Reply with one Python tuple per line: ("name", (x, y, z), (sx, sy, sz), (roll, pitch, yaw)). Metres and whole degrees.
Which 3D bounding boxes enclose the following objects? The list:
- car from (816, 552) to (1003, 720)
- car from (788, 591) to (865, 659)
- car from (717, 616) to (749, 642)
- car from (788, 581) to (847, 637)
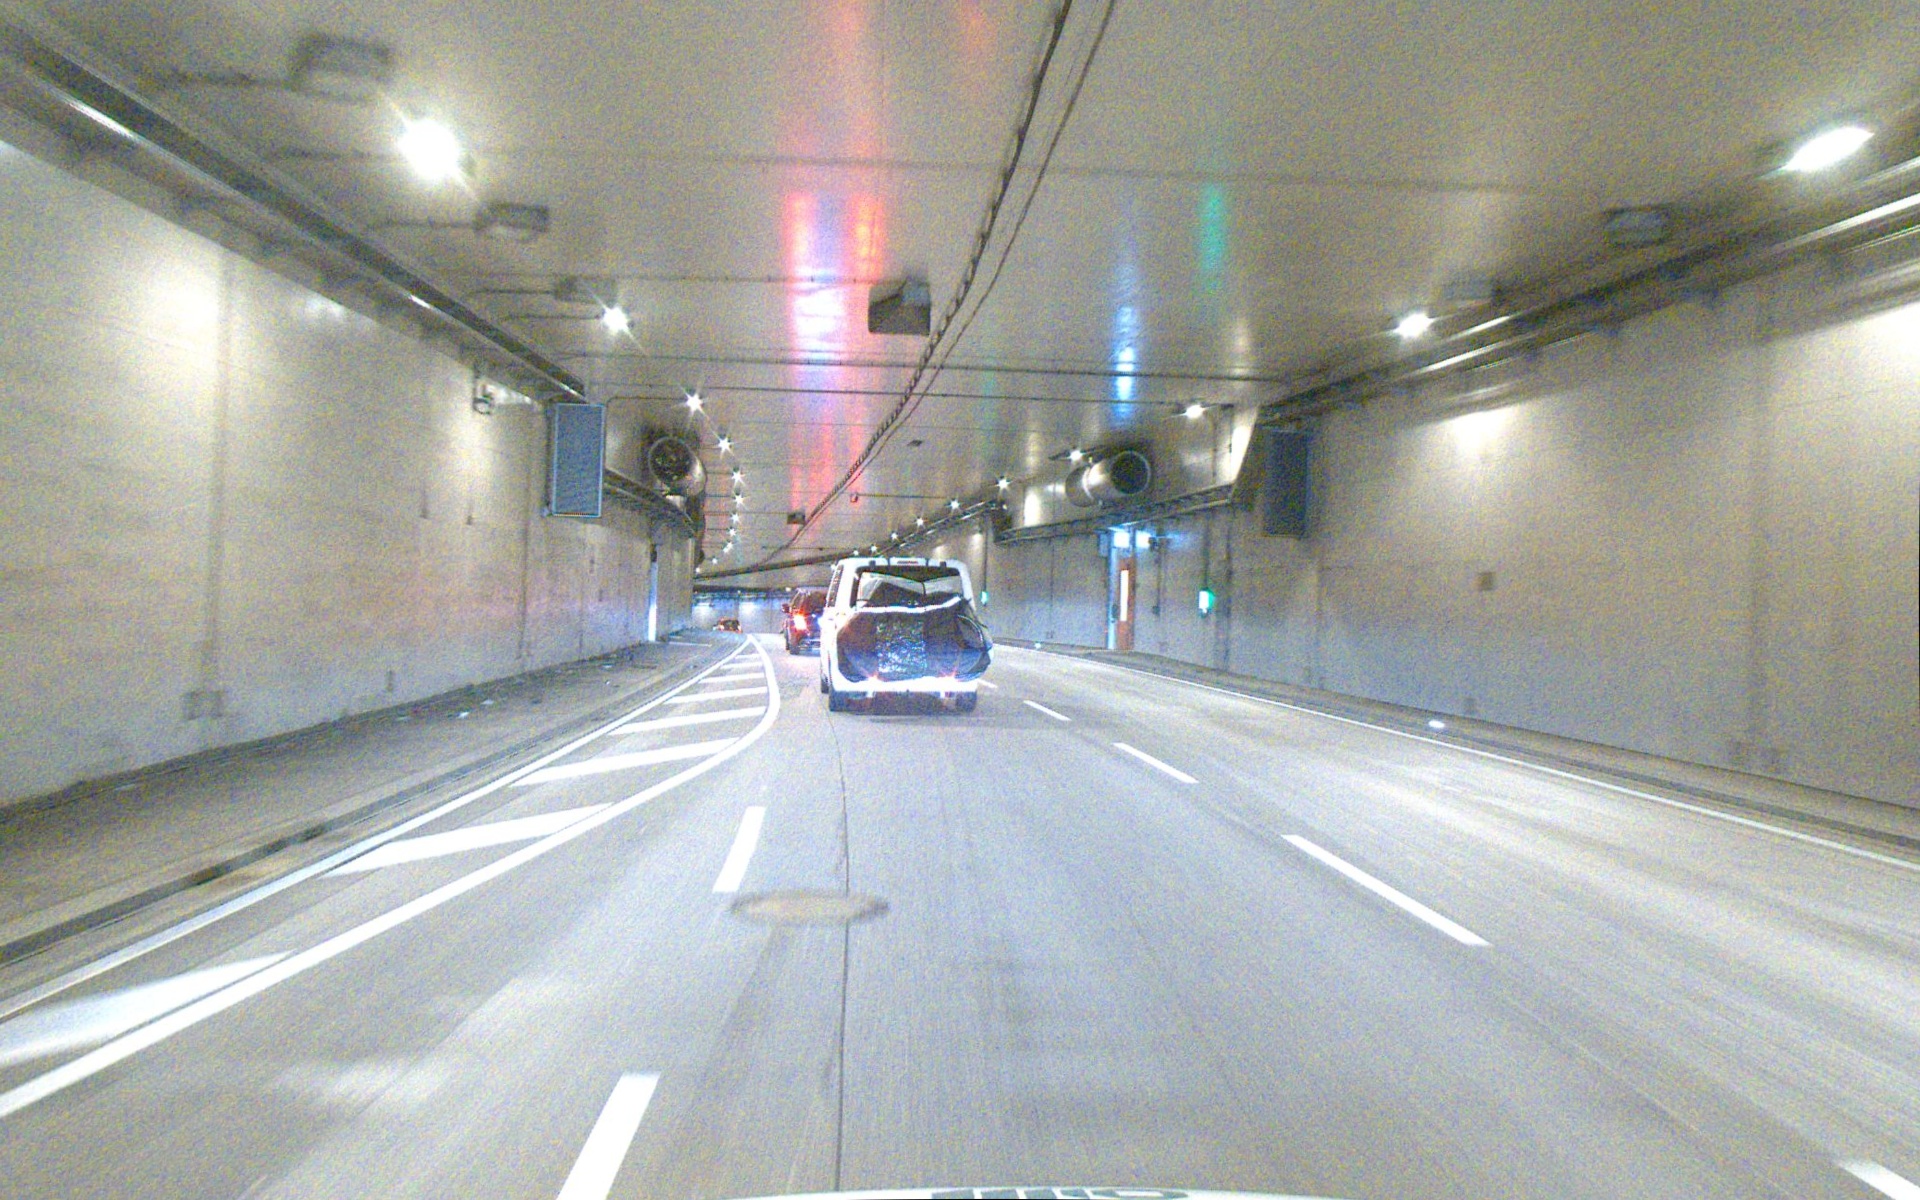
("car", (-0.785, 0.395, 21.290), (1.955, 1.879, 5.293), (0, 0, -7))
("car", (-3.023, 0.537, 37.039), (1.572, 1.420, 3.272), (2, 0, -7))
("car", (-15.372, 1.980, 111.836), (1.790, 1.659, 3.832), (3, -2, -12))
("car", (-4.323, 0.277, 49.814), (1.573, 1.622, 3.349), (1, -1, -9))
